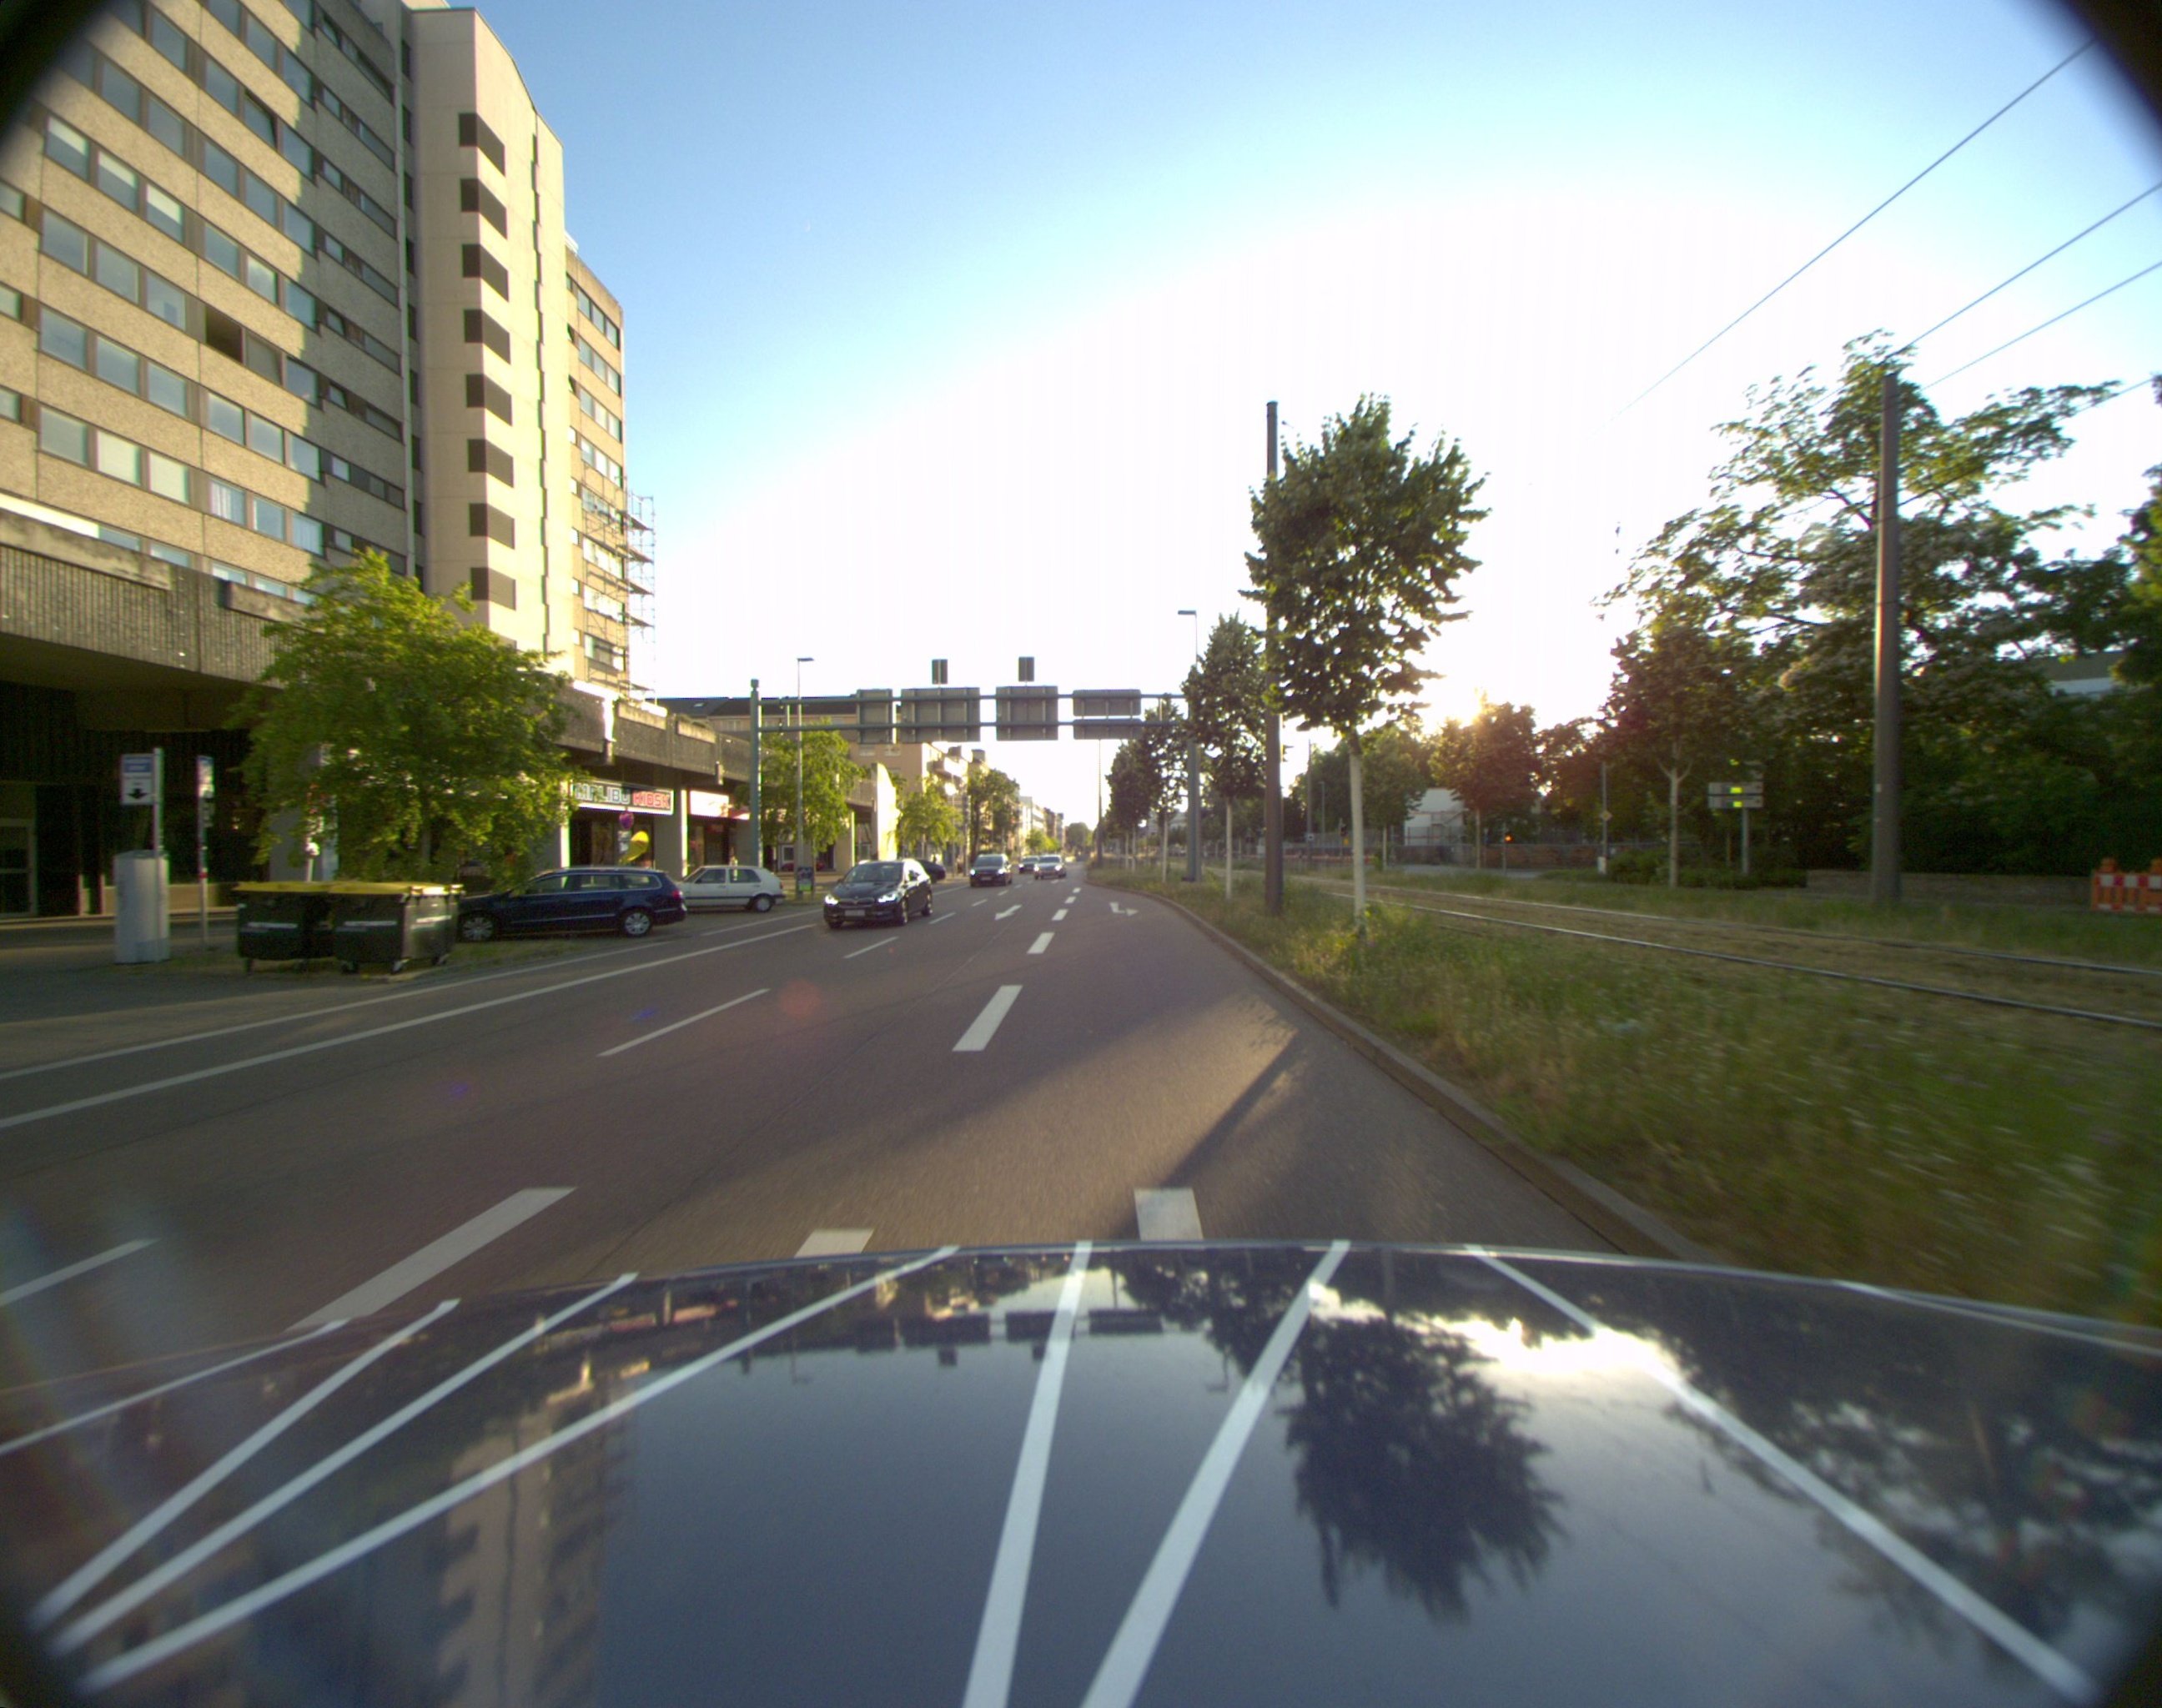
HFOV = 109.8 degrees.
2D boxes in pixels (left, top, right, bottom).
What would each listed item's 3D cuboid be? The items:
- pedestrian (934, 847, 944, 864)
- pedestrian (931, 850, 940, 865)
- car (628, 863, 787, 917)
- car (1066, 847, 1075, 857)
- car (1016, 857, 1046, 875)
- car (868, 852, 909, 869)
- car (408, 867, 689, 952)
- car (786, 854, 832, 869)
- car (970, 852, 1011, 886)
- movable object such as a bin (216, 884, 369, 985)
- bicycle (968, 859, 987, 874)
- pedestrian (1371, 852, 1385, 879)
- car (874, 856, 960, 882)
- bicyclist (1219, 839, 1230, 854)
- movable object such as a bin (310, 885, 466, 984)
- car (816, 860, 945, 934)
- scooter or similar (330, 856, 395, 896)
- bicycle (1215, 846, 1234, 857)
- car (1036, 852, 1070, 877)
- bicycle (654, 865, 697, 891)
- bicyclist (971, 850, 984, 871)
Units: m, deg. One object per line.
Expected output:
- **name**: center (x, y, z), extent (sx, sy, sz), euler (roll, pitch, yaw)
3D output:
- **pedestrian**: center (-15.281, 0.184, 81.710), extent (0.840, 1.849, 0.544), euler (-1, 2, 1)
- **pedestrian**: center (-15.808, 0.332, 82.427), extent (0.821, 1.606, 0.766), euler (-1, 2, 3)
- **car**: center (-11.138, 1.033, 22.754), extent (3.999, 1.408, 1.746), euler (1, 1, -36)
- **car**: center (-2.100, -0.422, 152.263), extent (1.727, 1.910, 4.293), euler (-3, 0, -2)
- **car**: center (-4.236, 1.000, 65.041), extent (1.915, 1.387, 4.277), euler (-3, 0, 3)
- **car**: center (-20.095, 0.673, 79.491), extent (3.813, 1.552, 1.614), euler (0, 4, 2)
- **car**: center (-11.187, 1.076, 16.261), extent (4.679, 1.500, 1.934), euler (1, 1, -38)
- **car**: center (-28.538, 0.761, 79.855), extent (4.226, 1.433, 1.655), euler (-1, 4, -3)
- **car**: center (-4.642, 0.721, 39.533), extent (1.828, 1.589, 4.365), euler (-2, 0, -4)
- **movable object such as a bin**: center (-11.542, 1.152, 11.176), extent (1.016, 1.339, 1.160), euler (2, 0, -3)
- **bicycle**: center (-8.242, 0.973, 60.500), extent (0.821, 1.166, 2.143), euler (0, 1, -26)
- **pedestrian**: center (18.207, 0.714, 46.627), extent (0.670, 1.597, 0.679), euler (-3, -4, 16)
- **car**: center (-9.623, 0.877, 44.781), extent (4.616, 1.445, 1.808), euler (1, 0, -39)
- **bicyclist**: center (16.062, -0.808, 85.271), extent (0.942, 1.611, 0.718), euler (-2, 1, 33)
- **movable object such as a bin**: center (-10.197, 1.153, 11.255), extent (1.088, 1.294, 1.360), euler (1, 1, -5)
- **car**: center (-4.867, 0.968, 19.213), extent (1.825, 1.510, 4.791), euler (-2, 0, 2)
- **scooter or similar**: center (-21.884, 0.653, 23.180), extent (0.402, 1.154, 1.829), euler (-3, 0, -8)
- **bicycle**: center (16.086, -0.319, 85.278), extent (1.893, 1.127, 0.718), euler (-3, 1, 33)
- **car**: center (-1.749, 0.636, 48.780), extent (1.832, 1.455, 4.303), euler (-3, 0, 1)
- **bicycle**: center (-17.226, 1.004, 32.319), extent (1.576, 1.042, 0.433), euler (1, 1, 0)
- **bicyclist**: center (-8.247, 0.534, 60.508), extent (0.821, 1.682, 0.959), euler (0, 1, -26)
